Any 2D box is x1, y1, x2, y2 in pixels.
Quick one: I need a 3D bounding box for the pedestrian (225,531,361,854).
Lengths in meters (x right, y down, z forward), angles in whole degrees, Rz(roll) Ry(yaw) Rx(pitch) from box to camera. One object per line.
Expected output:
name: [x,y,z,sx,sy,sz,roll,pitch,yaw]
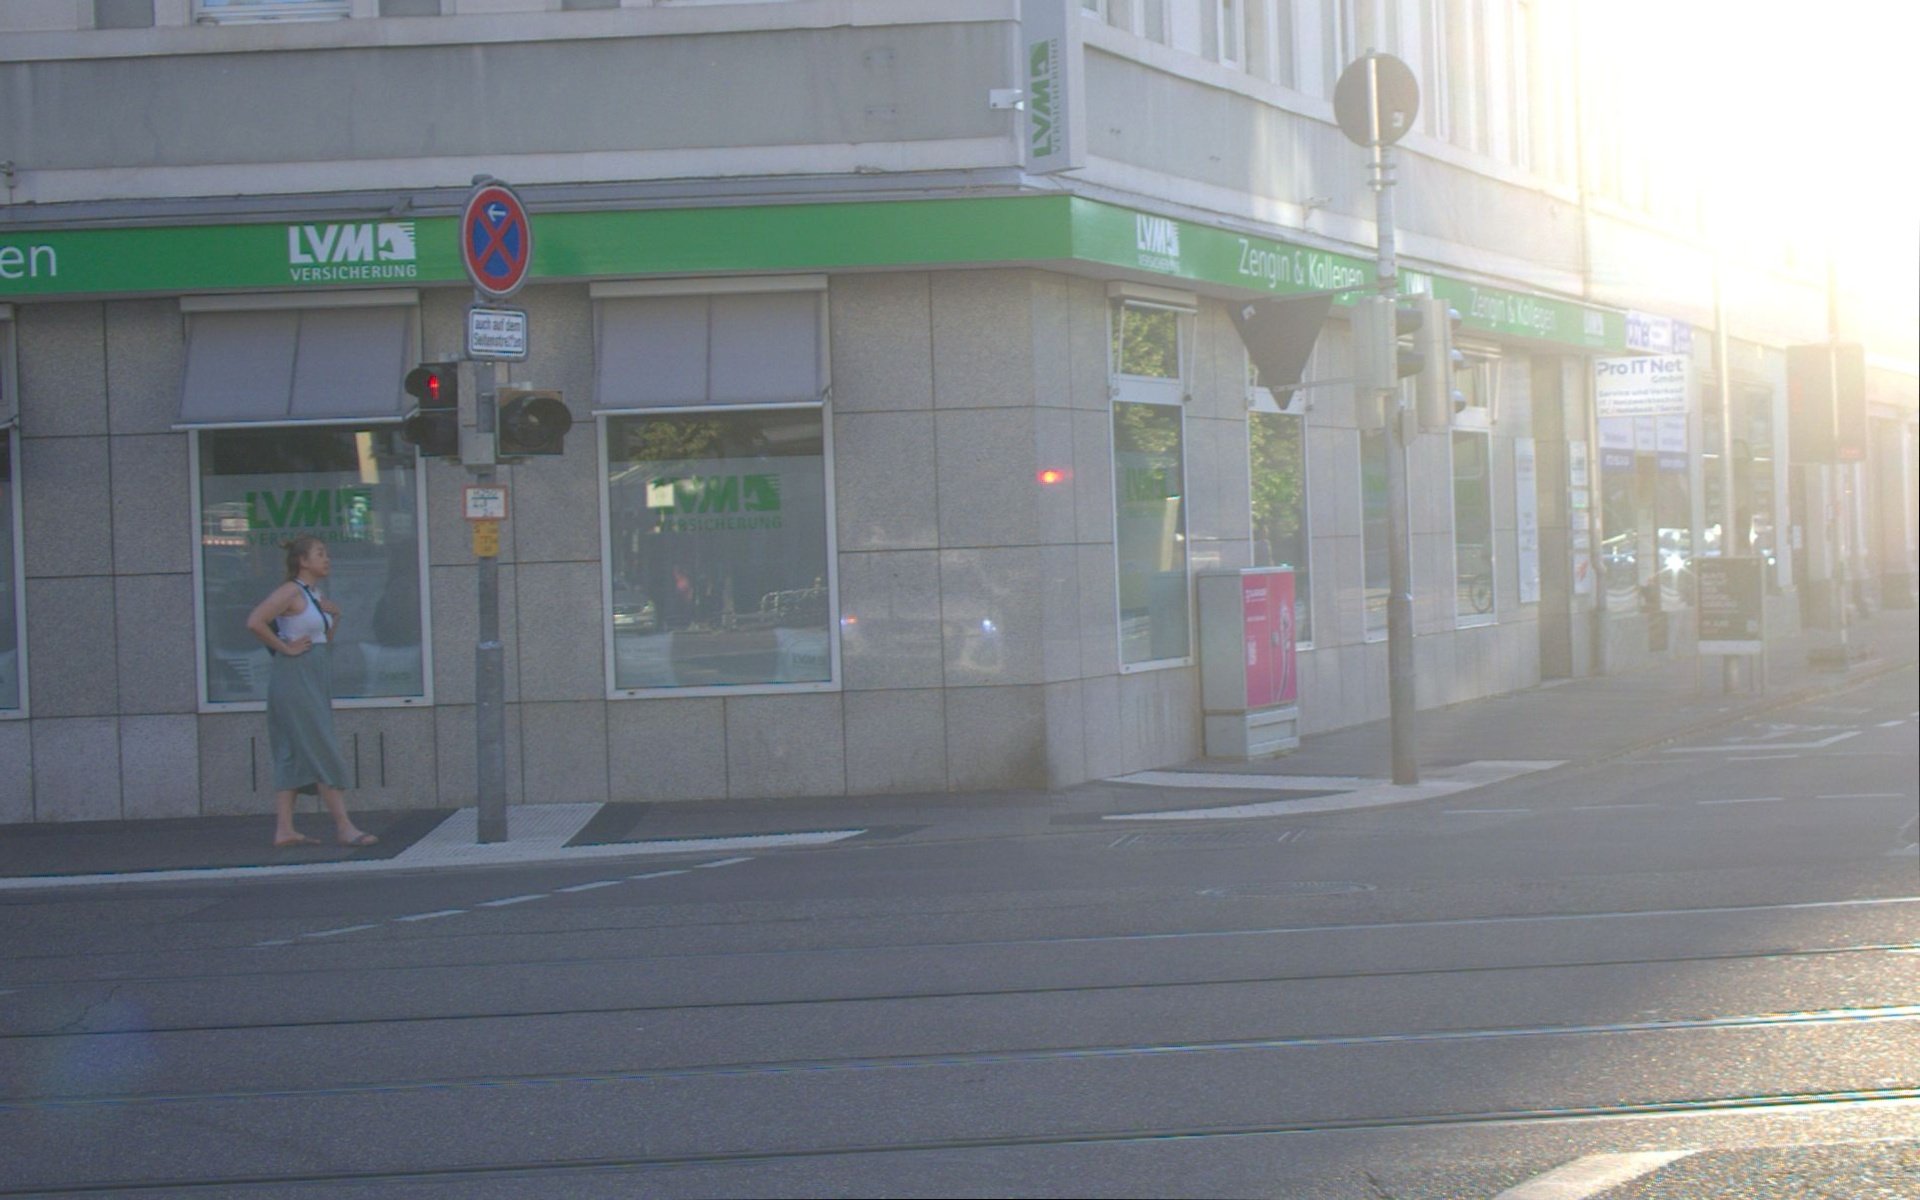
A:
pedestrian: [-3.765,0.511,19.445,0.645,1.772,0.672,-2,1,-7]
